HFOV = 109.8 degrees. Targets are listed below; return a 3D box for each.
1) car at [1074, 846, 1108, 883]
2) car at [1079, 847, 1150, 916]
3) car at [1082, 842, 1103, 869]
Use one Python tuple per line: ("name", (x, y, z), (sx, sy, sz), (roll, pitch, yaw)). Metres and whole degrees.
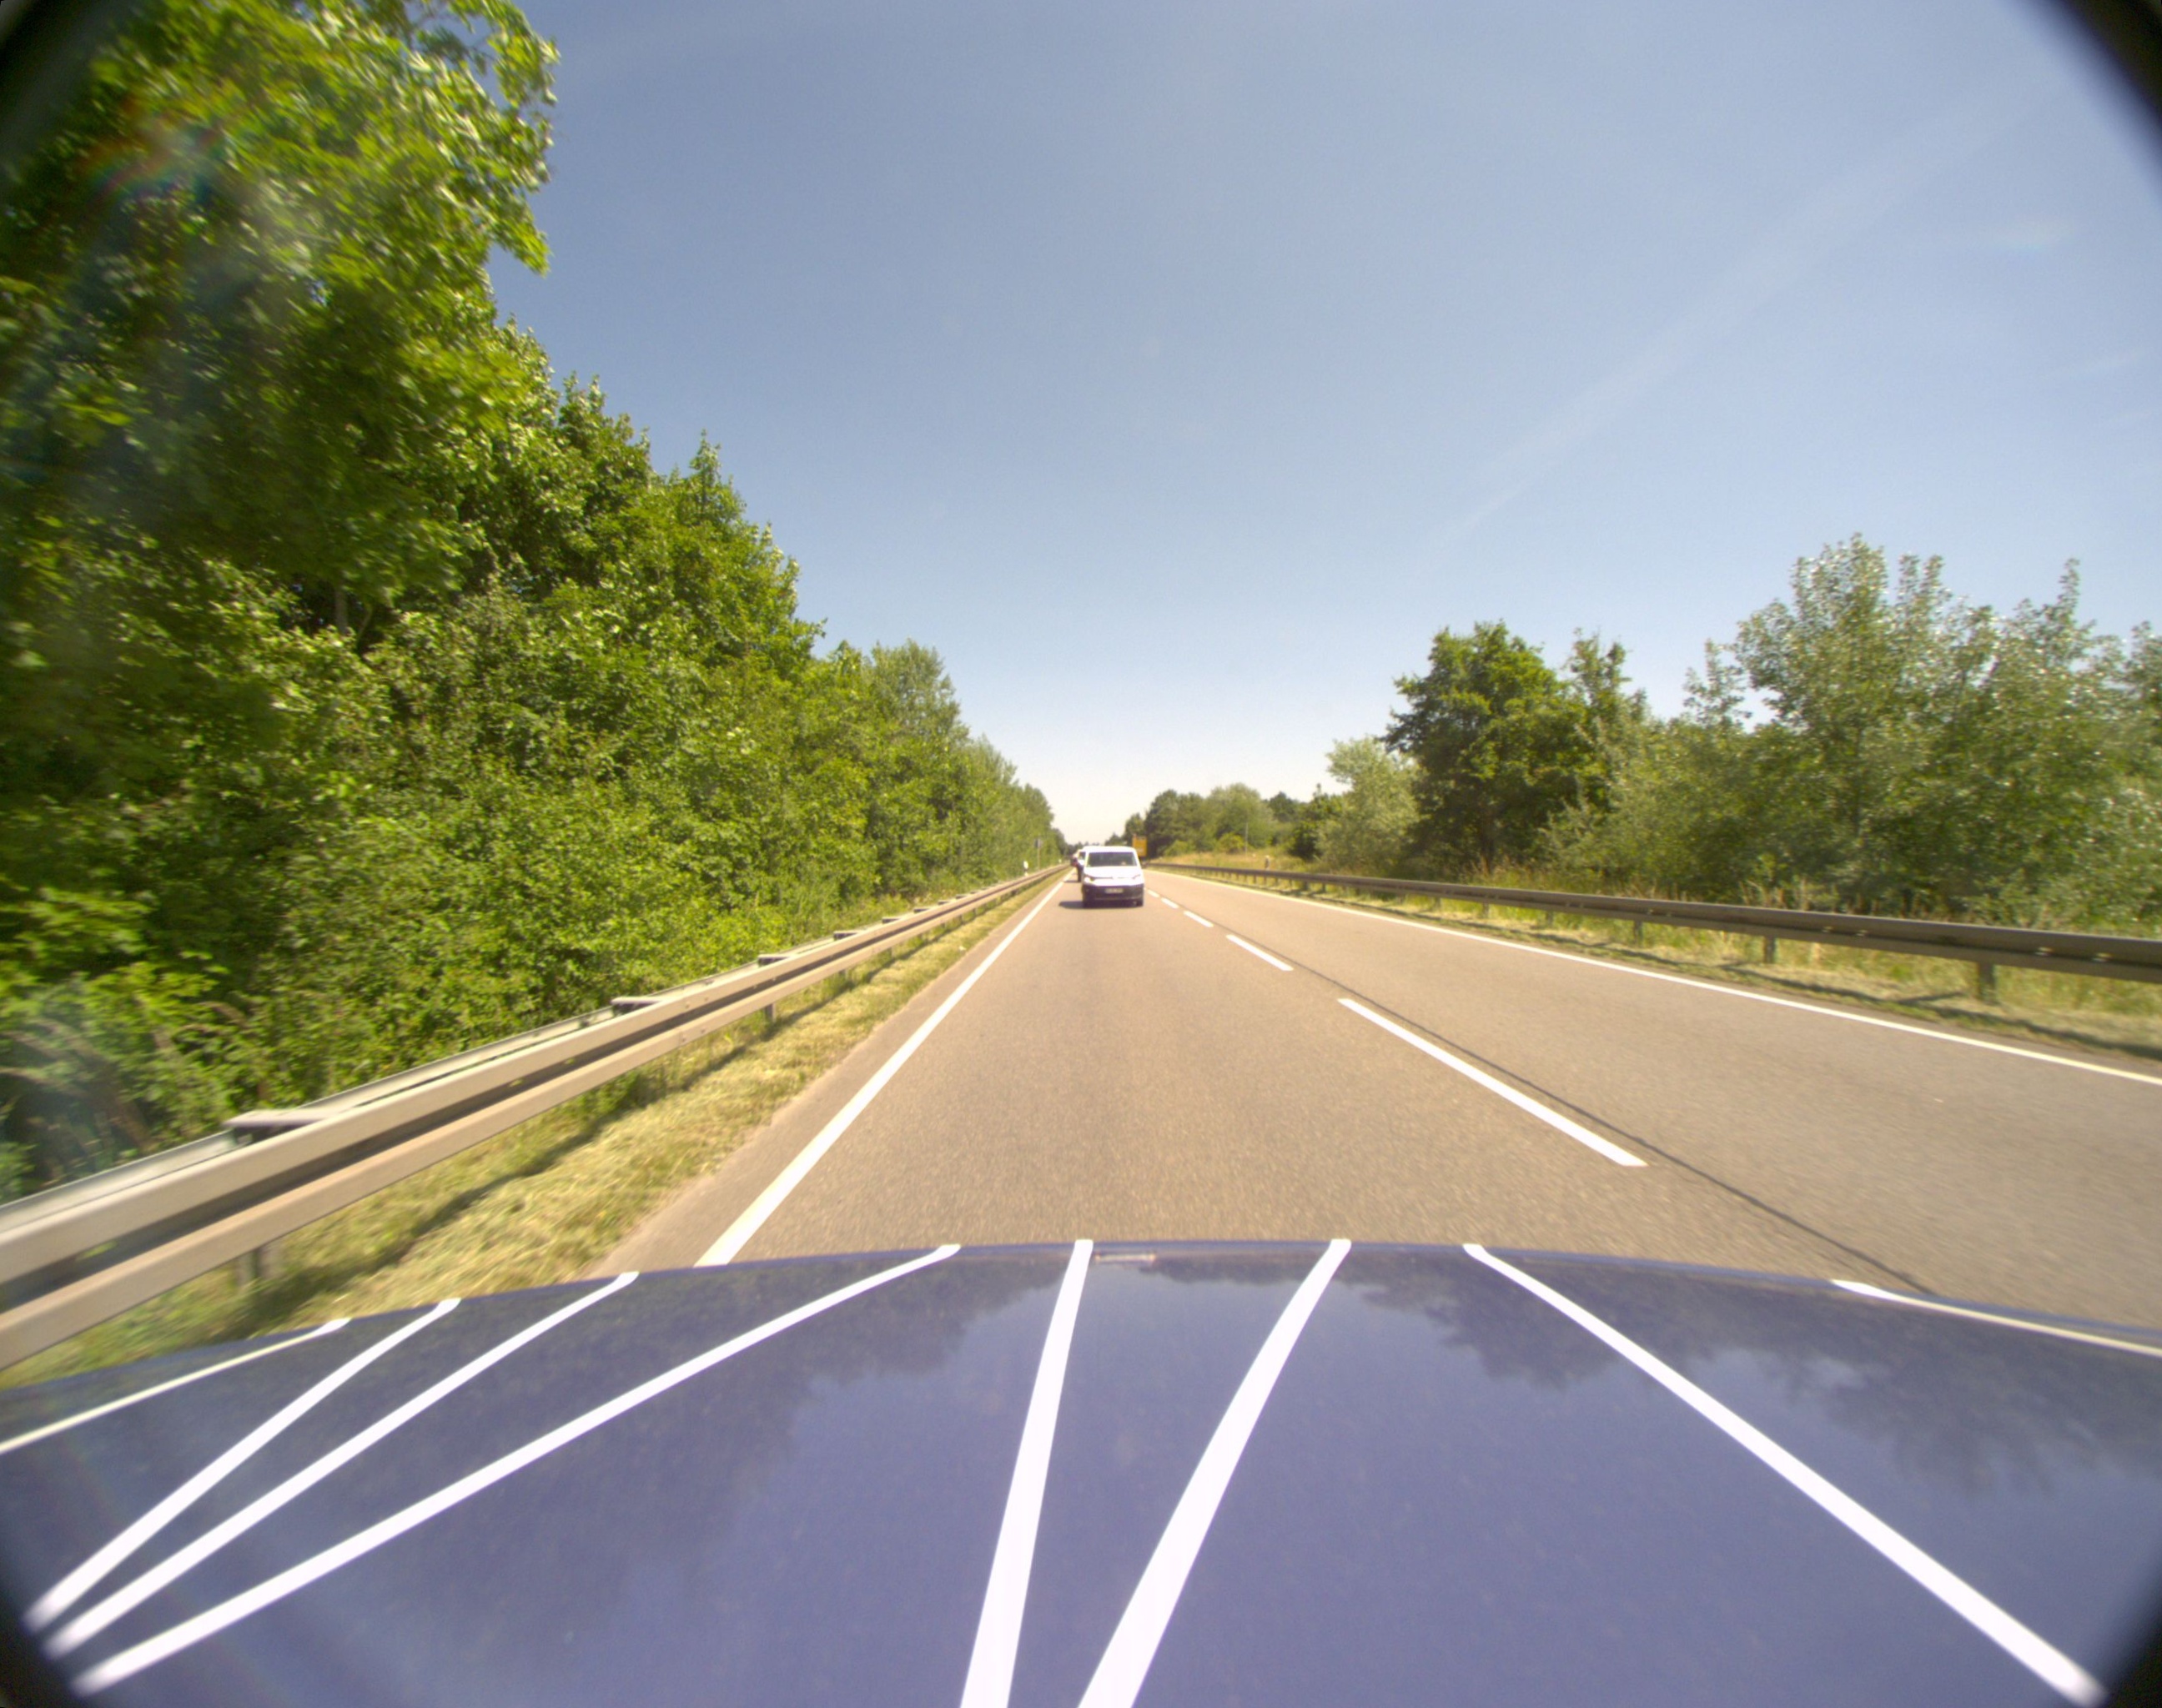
("car", (0.590, 0.572, 43.928), (1.782, 1.960, 4.106), (-2, 0, 1))
("car", (0.909, 0.703, 21.966), (1.782, 1.743, 4.512), (-2, 0, 1))
("car", (1.048, 0.095, 68.203), (1.782, 2.287, 4.106), (-2, 0, 1))
